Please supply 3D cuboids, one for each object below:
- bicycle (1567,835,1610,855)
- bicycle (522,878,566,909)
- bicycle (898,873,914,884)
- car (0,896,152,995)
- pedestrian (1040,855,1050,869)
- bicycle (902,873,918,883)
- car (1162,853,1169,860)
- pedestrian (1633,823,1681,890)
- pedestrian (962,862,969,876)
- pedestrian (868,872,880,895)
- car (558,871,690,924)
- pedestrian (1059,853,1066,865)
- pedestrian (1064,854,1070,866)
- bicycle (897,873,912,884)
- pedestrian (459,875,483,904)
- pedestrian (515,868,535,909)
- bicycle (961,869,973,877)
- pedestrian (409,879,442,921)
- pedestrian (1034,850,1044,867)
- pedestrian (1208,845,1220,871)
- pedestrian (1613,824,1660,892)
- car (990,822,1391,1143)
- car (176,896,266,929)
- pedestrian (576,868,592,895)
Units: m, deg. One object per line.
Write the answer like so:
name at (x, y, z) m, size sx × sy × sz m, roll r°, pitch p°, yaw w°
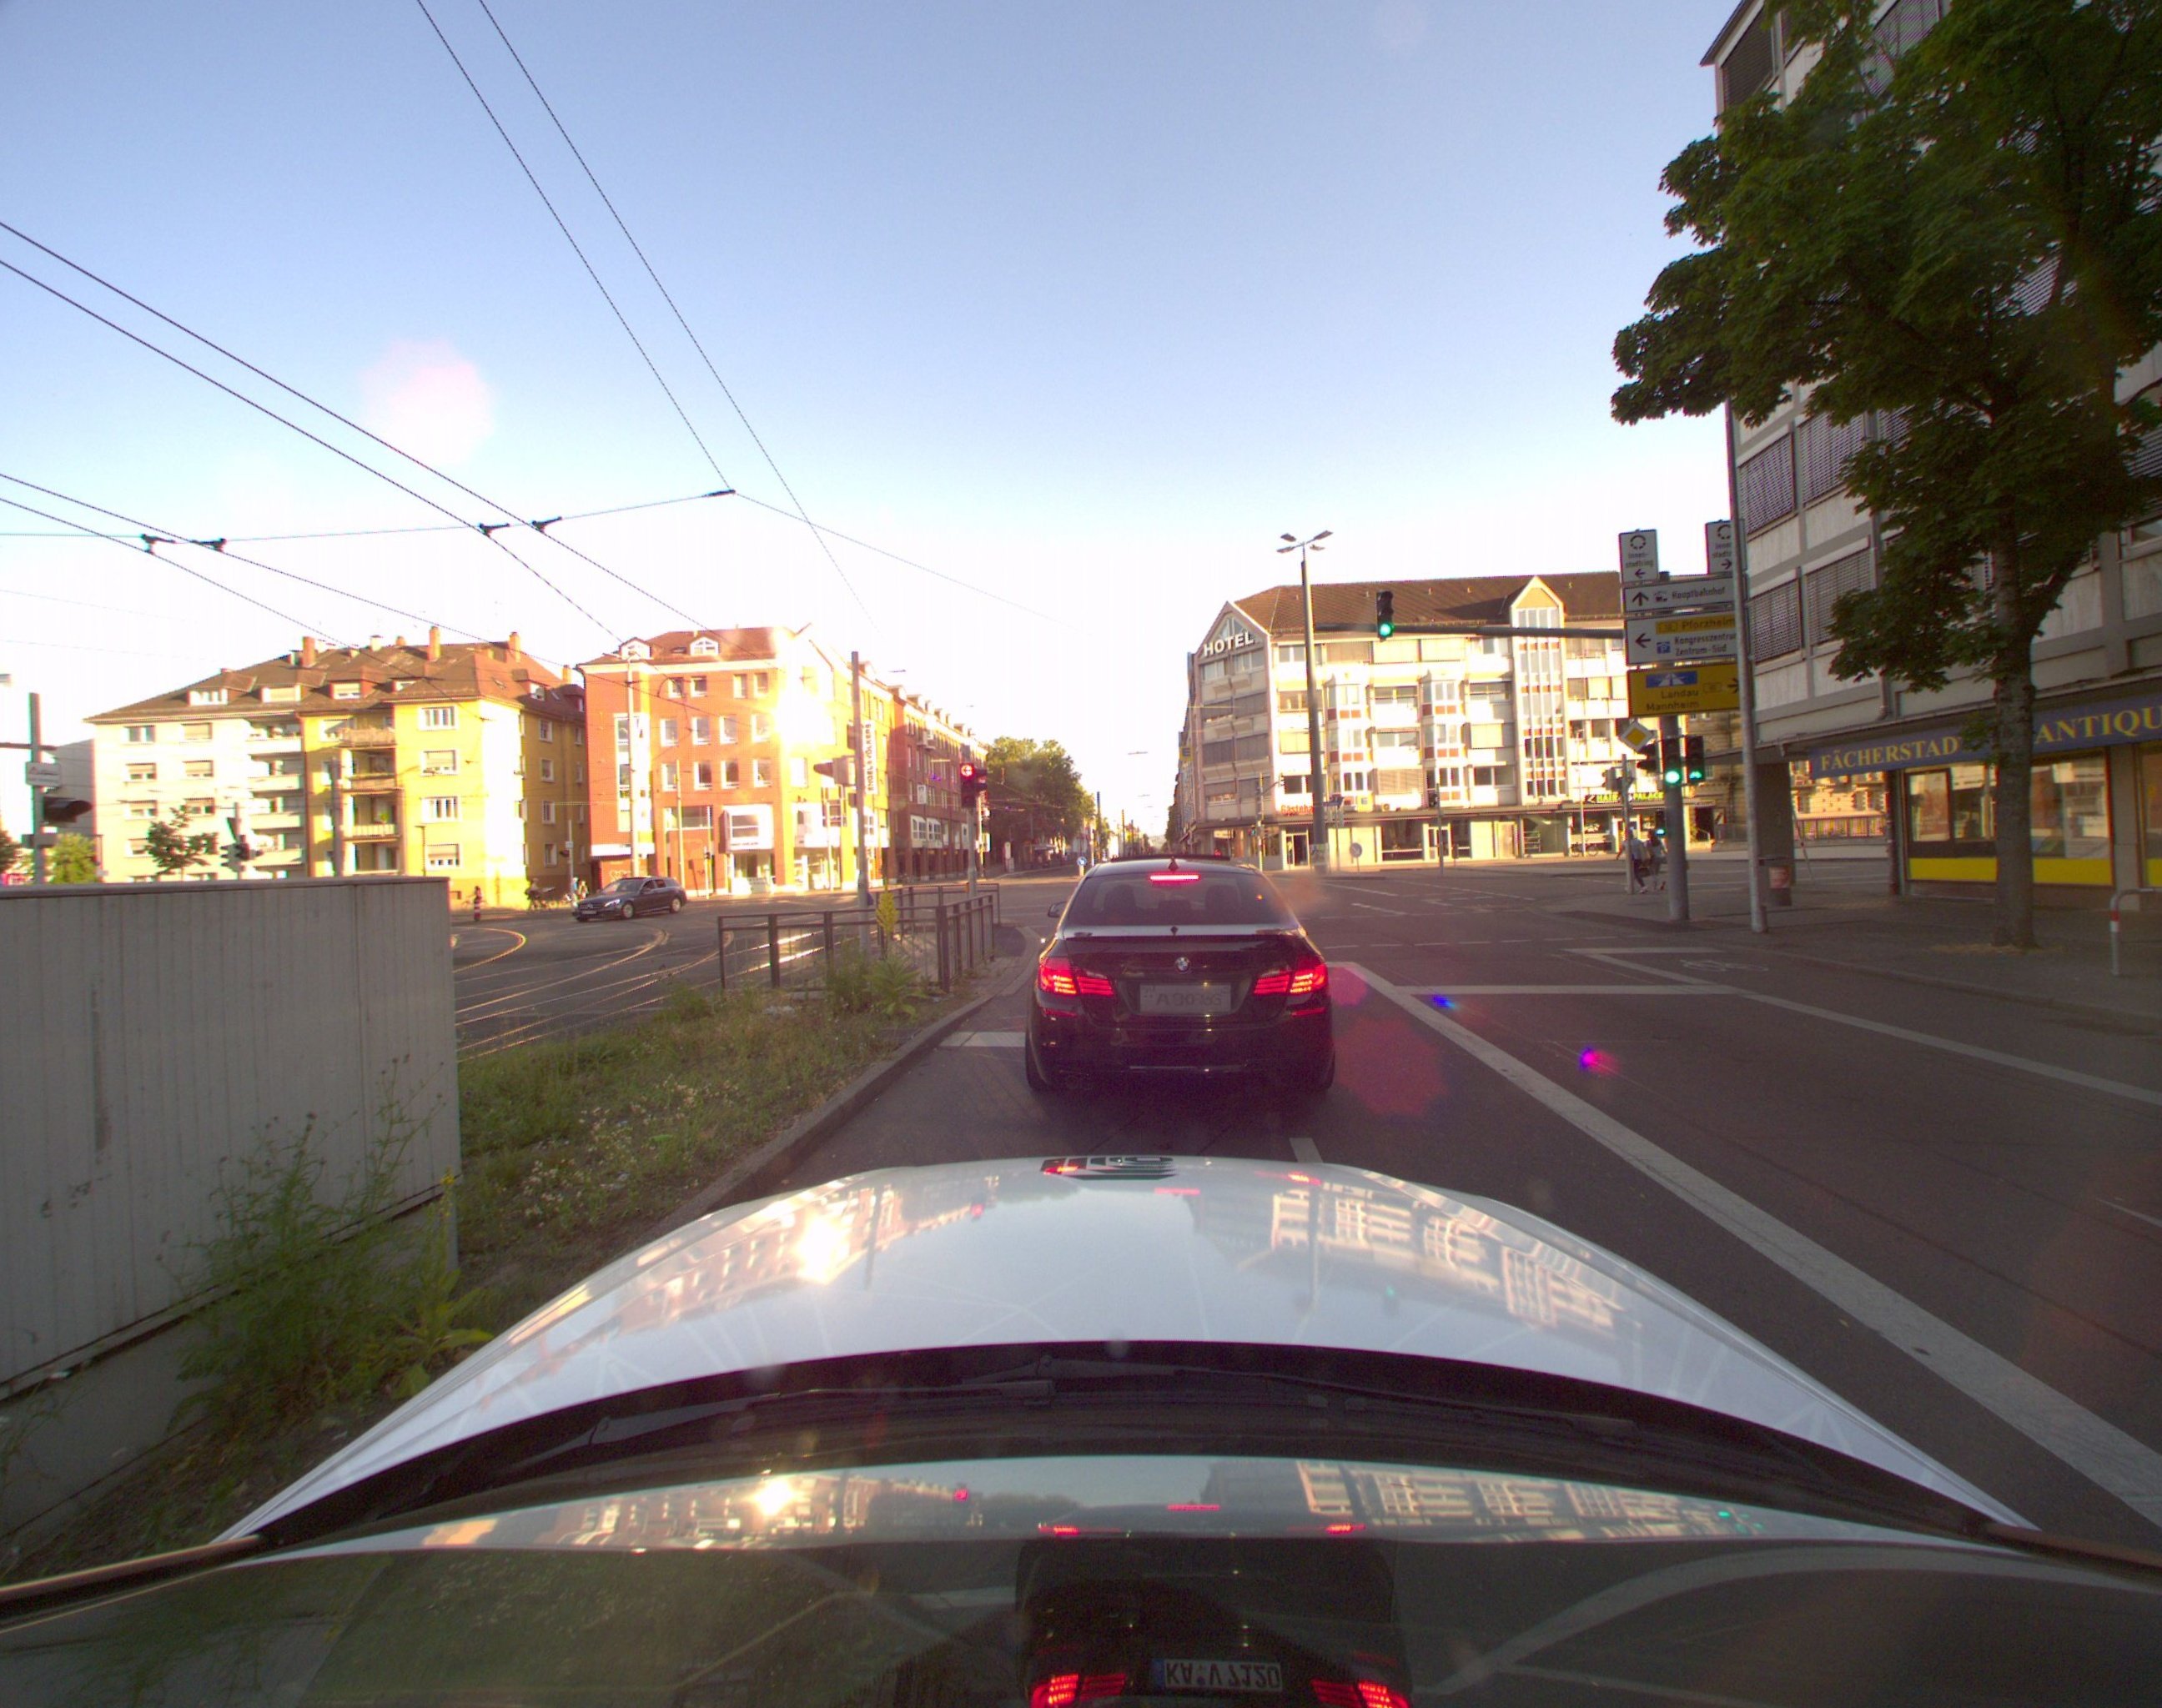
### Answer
bicycle at (34.668, -0.613, 55.640) m, size 2.397 × 1.265 × 0.823 m, roll -3°, pitch 0°, yaw 0°
bicycle at (-25.078, 1.827, 38.078) m, size 0.615 × 1.325 × 2.017 m, roll -1°, pitch 0°, yaw 2°
bicycle at (-15.747, 2.216, 73.250) m, size 1.281 × 0.922 × 0.349 m, roll -1°, pitch 0°, yaw 1°
car at (-17.941, 1.544, 12.743) m, size 1.660 × 1.448 × 4.210 m, roll -3°, pitch 0°, yaw 7°
pedestrian at (-4.419, 1.004, 99.860) m, size 0.983 × 1.681 × 0.727 m, roll -3°, pitch 0°, yaw 4°
bicycle at (-15.811, 2.211, 75.249) m, size 1.413 × 0.922 × 0.442 m, roll -1°, pitch 0°, yaw -11°
car at (20.154, 0.612, 193.953) m, size 1.466 × 1.515 × 3.100 m, roll -3°, pitch 0°, yaw 5°
pedestrian at (14.820, 0.070, 20.967) m, size 0.719 × 1.667 × 0.673 m, roll -3°, pitch 0°, yaw 9°
pedestrian at (-13.505, 1.754, 95.351) m, size 0.483 × 1.681 × 0.657 m, roll -3°, pitch 0°, yaw 10°
pedestrian at (-17.036, 2.446, 67.014) m, size 0.626 × 1.868 × 0.683 m, roll -1°, pitch 0°, yaw 32°
car at (-16.352, 1.504, 29.443) m, size 1.985 × 1.585 × 4.483 m, roll -3°, pitch 0°, yaw 3°
pedestrian at (-2.633, 0.755, 117.553) m, size 0.719 × 1.681 × 0.993 m, roll -3°, pitch 0°, yaw 8°
pedestrian at (-2.028, 0.870, 119.616) m, size 0.719 × 1.681 × 0.993 m, roll -3°, pitch 0°, yaw 8°
bicycle at (-16.079, 2.223, 74.050) m, size 1.286 × 0.922 × 0.348 m, roll -1°, pitch 0°, yaw -11°
pedestrian at (-39.983, 2.317, 53.413) m, size 0.938 × 1.868 × 0.838 m, roll -1°, pitch 0°, yaw -4°
pedestrian at (-25.664, 1.588, 37.620) m, size 0.500 × 1.868 × 0.563 m, roll -1°, pitch 0°, yaw 0°
bicycle at (-13.432, 2.253, 96.043) m, size 1.412 × 0.922 × 0.402 m, roll -1°, pitch 0°, yaw -8°
pedestrian at (-29.950, 2.080, 37.215) m, size 0.828 × 1.868 × 0.949 m, roll -1°, pitch 0°, yaw 36°
pedestrian at (-4.886, 0.512, 94.803) m, size 0.983 × 2.013 × 0.727 m, roll -1°, pitch 0°, yaw 4°
pedestrian at (9.569, 0.306, 58.726) m, size 0.682 × 1.854 × 0.671 m, roll -3°, pitch 0°, yaw 2°
pedestrian at (14.030, 0.099, 20.586) m, size 0.680 × 1.667 × 0.673 m, roll -3°, pitch 0°, yaw 9°
car at (0.599, 0.632, 6.058) m, size 1.986 × 1.585 × 4.001 m, roll 0°, pitch 0°, yaw 1°
car at (-58.803, 3.993, 55.741) m, size 3.975 × 2.013 × 1.999 m, roll -1°, pitch 0°, yaw -1°
pedestrian at (-34.296, 1.889, 56.200) m, size 0.806 × 1.868 × 0.660 m, roll -1°, pitch 0°, yaw -17°
